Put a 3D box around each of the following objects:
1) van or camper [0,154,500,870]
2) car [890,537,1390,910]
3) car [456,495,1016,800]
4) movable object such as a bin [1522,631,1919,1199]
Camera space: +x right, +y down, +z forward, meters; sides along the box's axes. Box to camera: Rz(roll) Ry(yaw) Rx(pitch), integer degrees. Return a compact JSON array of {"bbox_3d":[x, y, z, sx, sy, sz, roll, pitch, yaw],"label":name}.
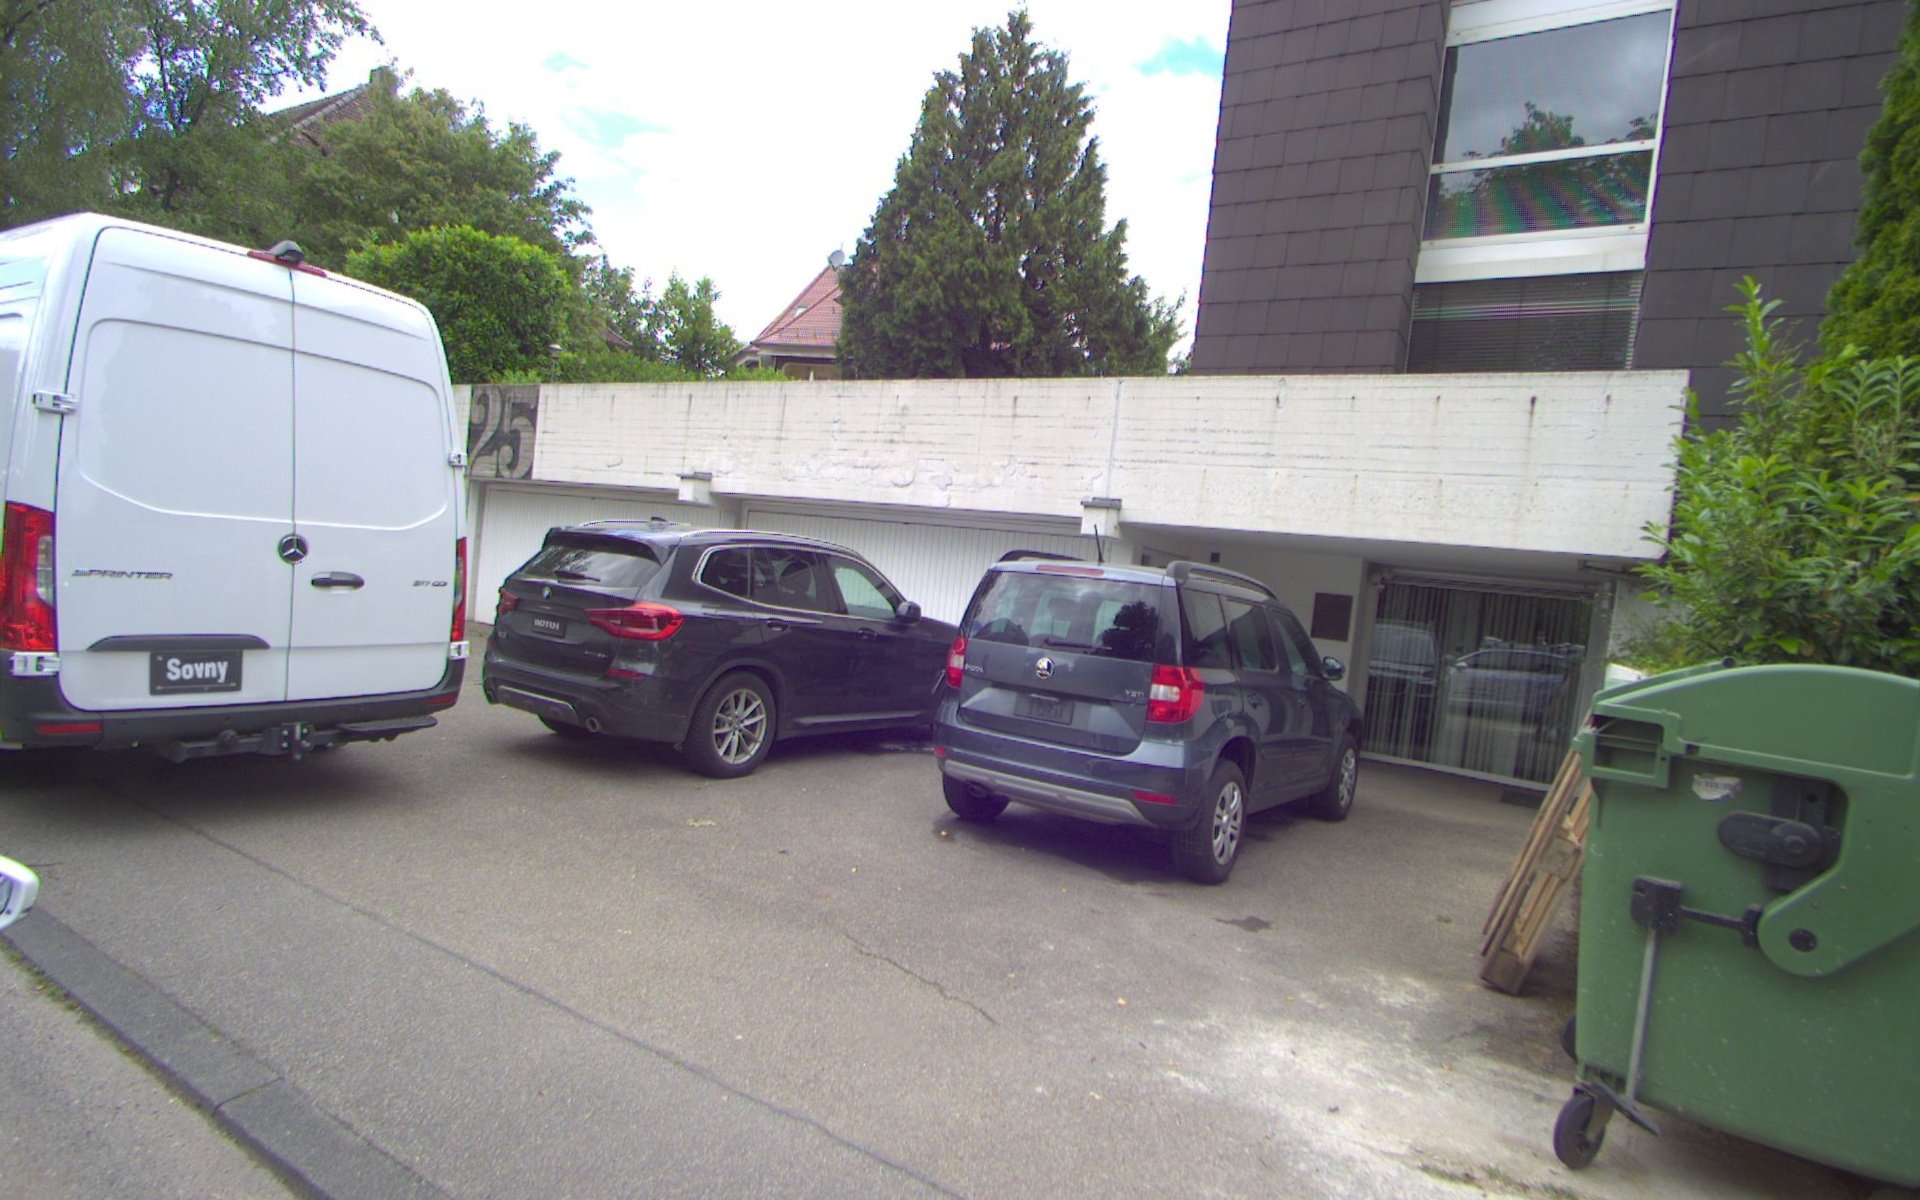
[{"bbox_3d":[-5.776,-0.582,6.283,6.436,2.662,1.990,6,4,32],"label":"van or camper"},{"bbox_3d":[1.481,0.642,6.802,1.717,1.673,3.899,6,1,35],"label":"car"},{"bbox_3d":[-1.410,0.321,8.041,1.668,1.696,4.383,6,1,32],"label":"car"},{"bbox_3d":[2.407,0.900,2.983,1.098,1.469,1.405,6,1,32],"label":"movable object such as a bin"}]
